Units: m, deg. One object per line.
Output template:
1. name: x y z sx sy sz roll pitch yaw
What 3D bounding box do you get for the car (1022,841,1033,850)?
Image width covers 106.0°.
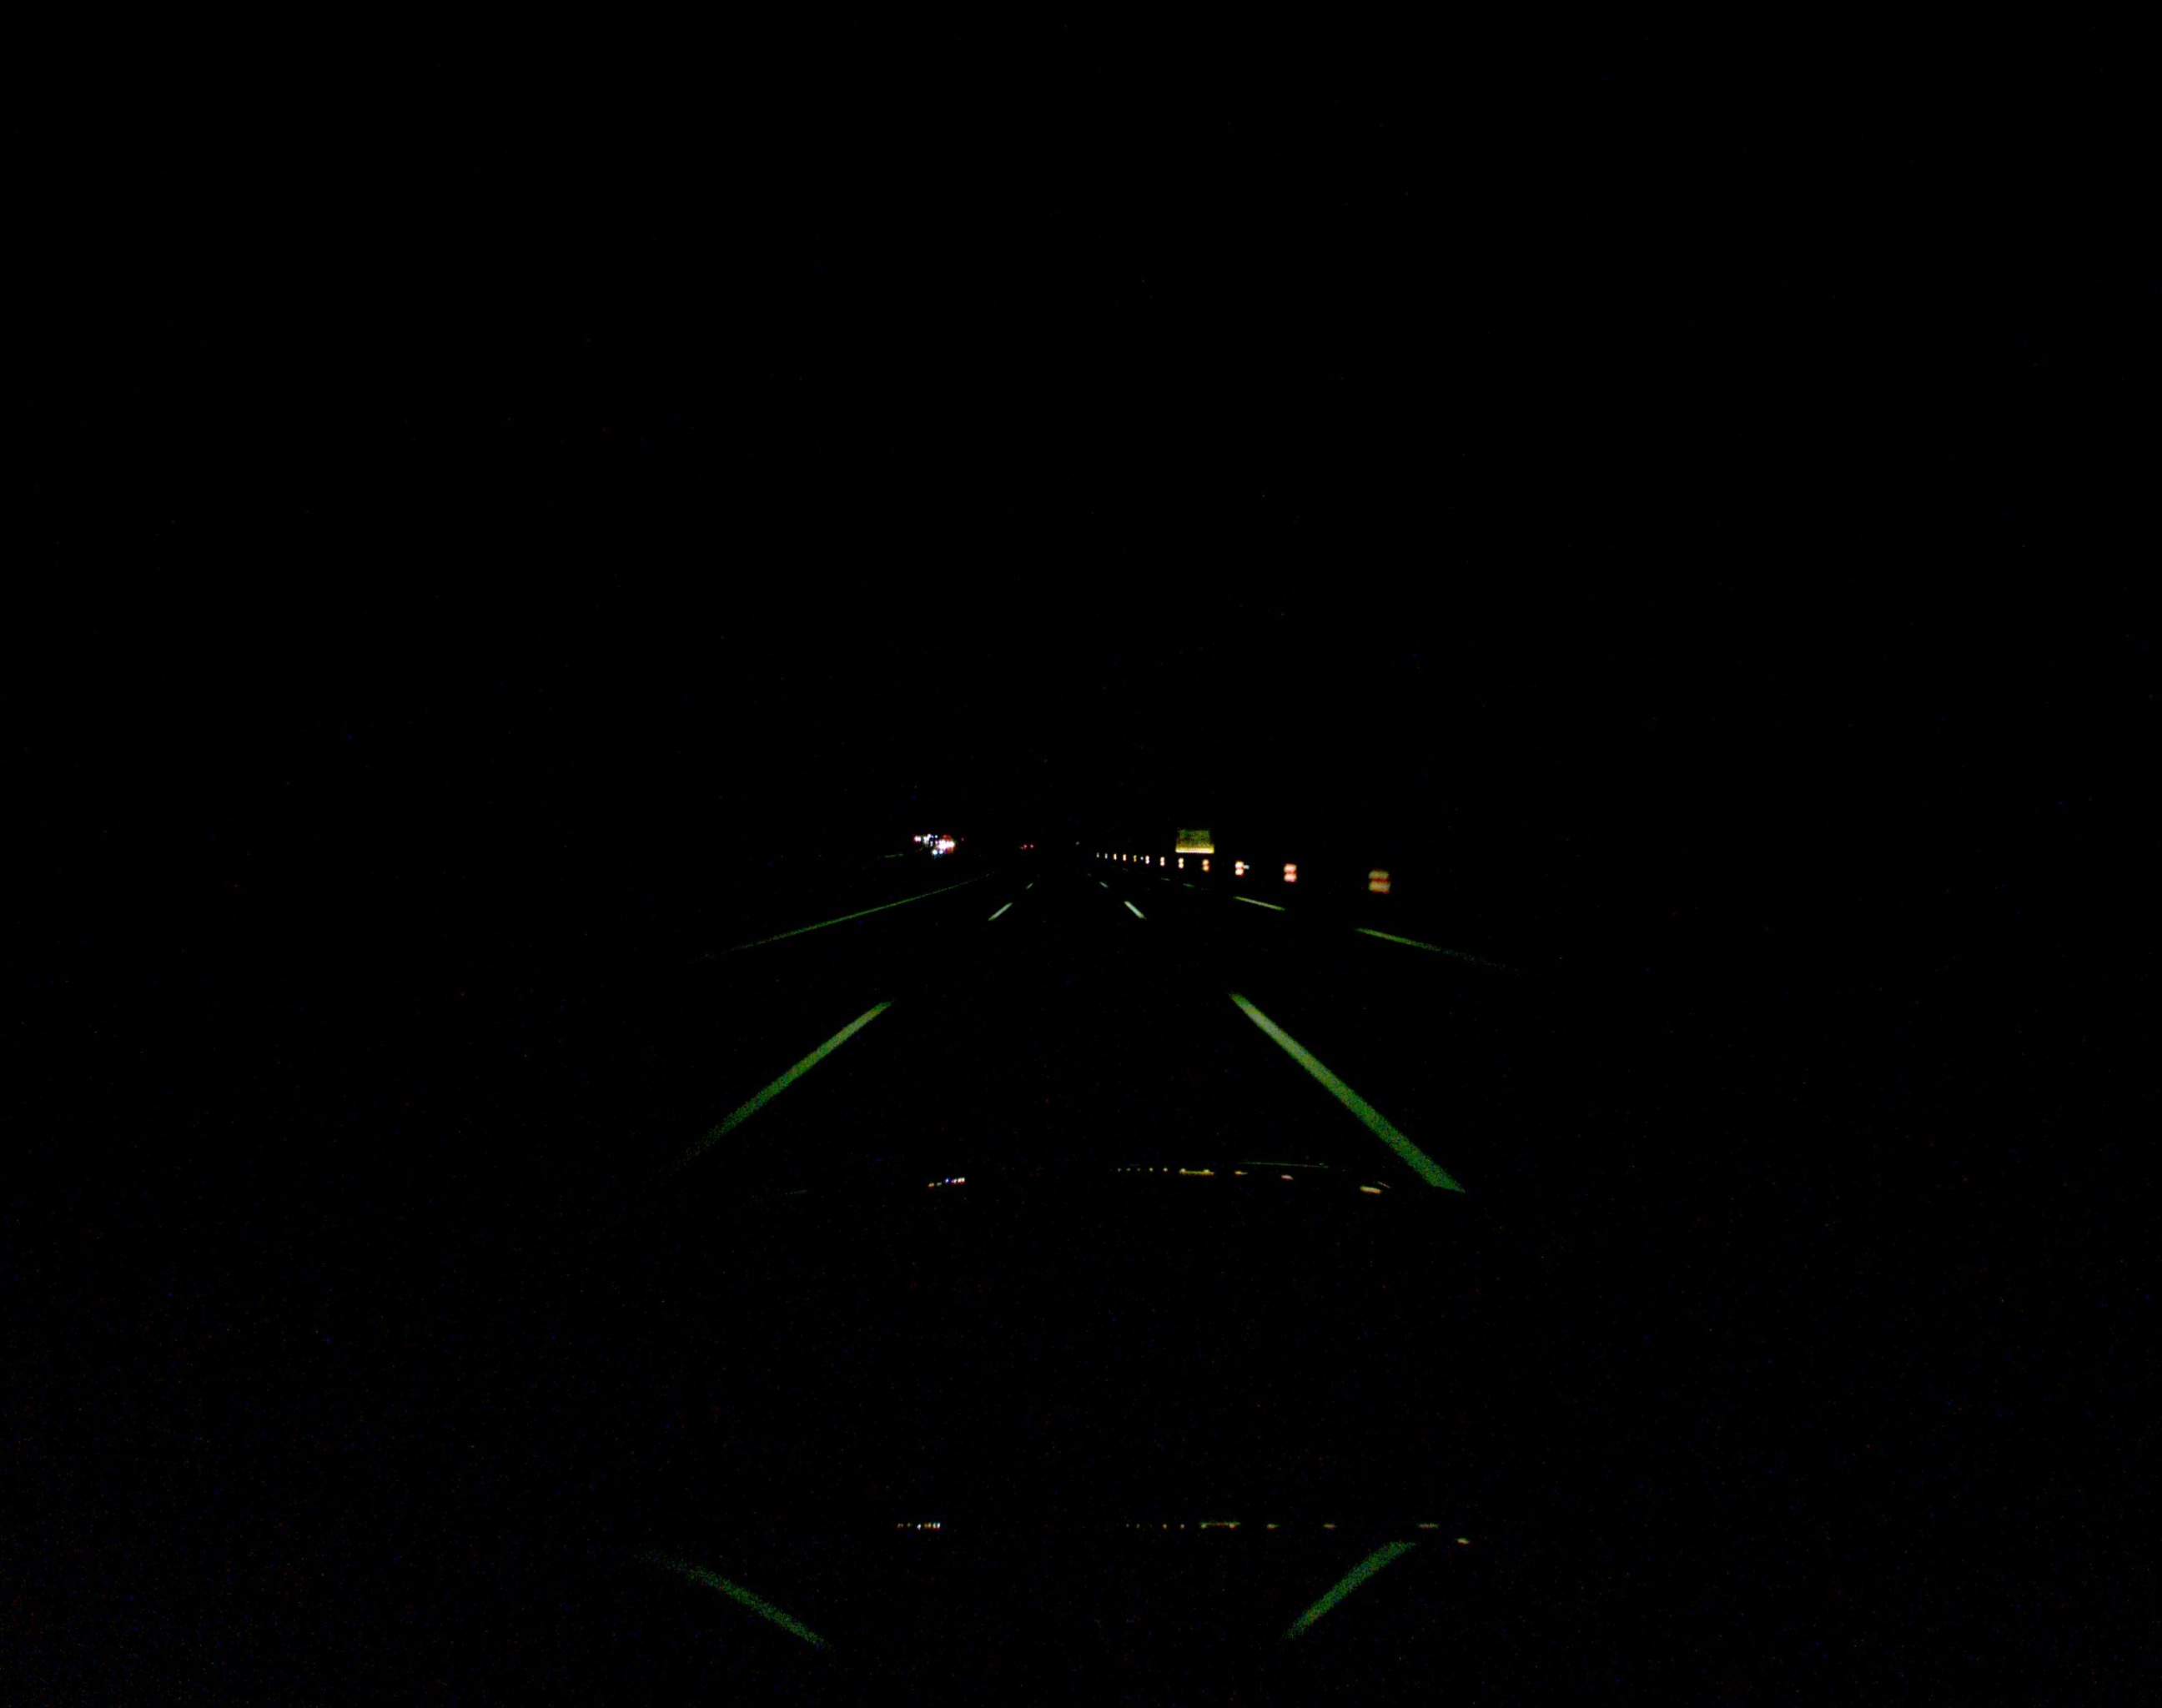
1. car: -15.180 -2.491 230.814 2.526 2.553 6.036 1 1 -8
